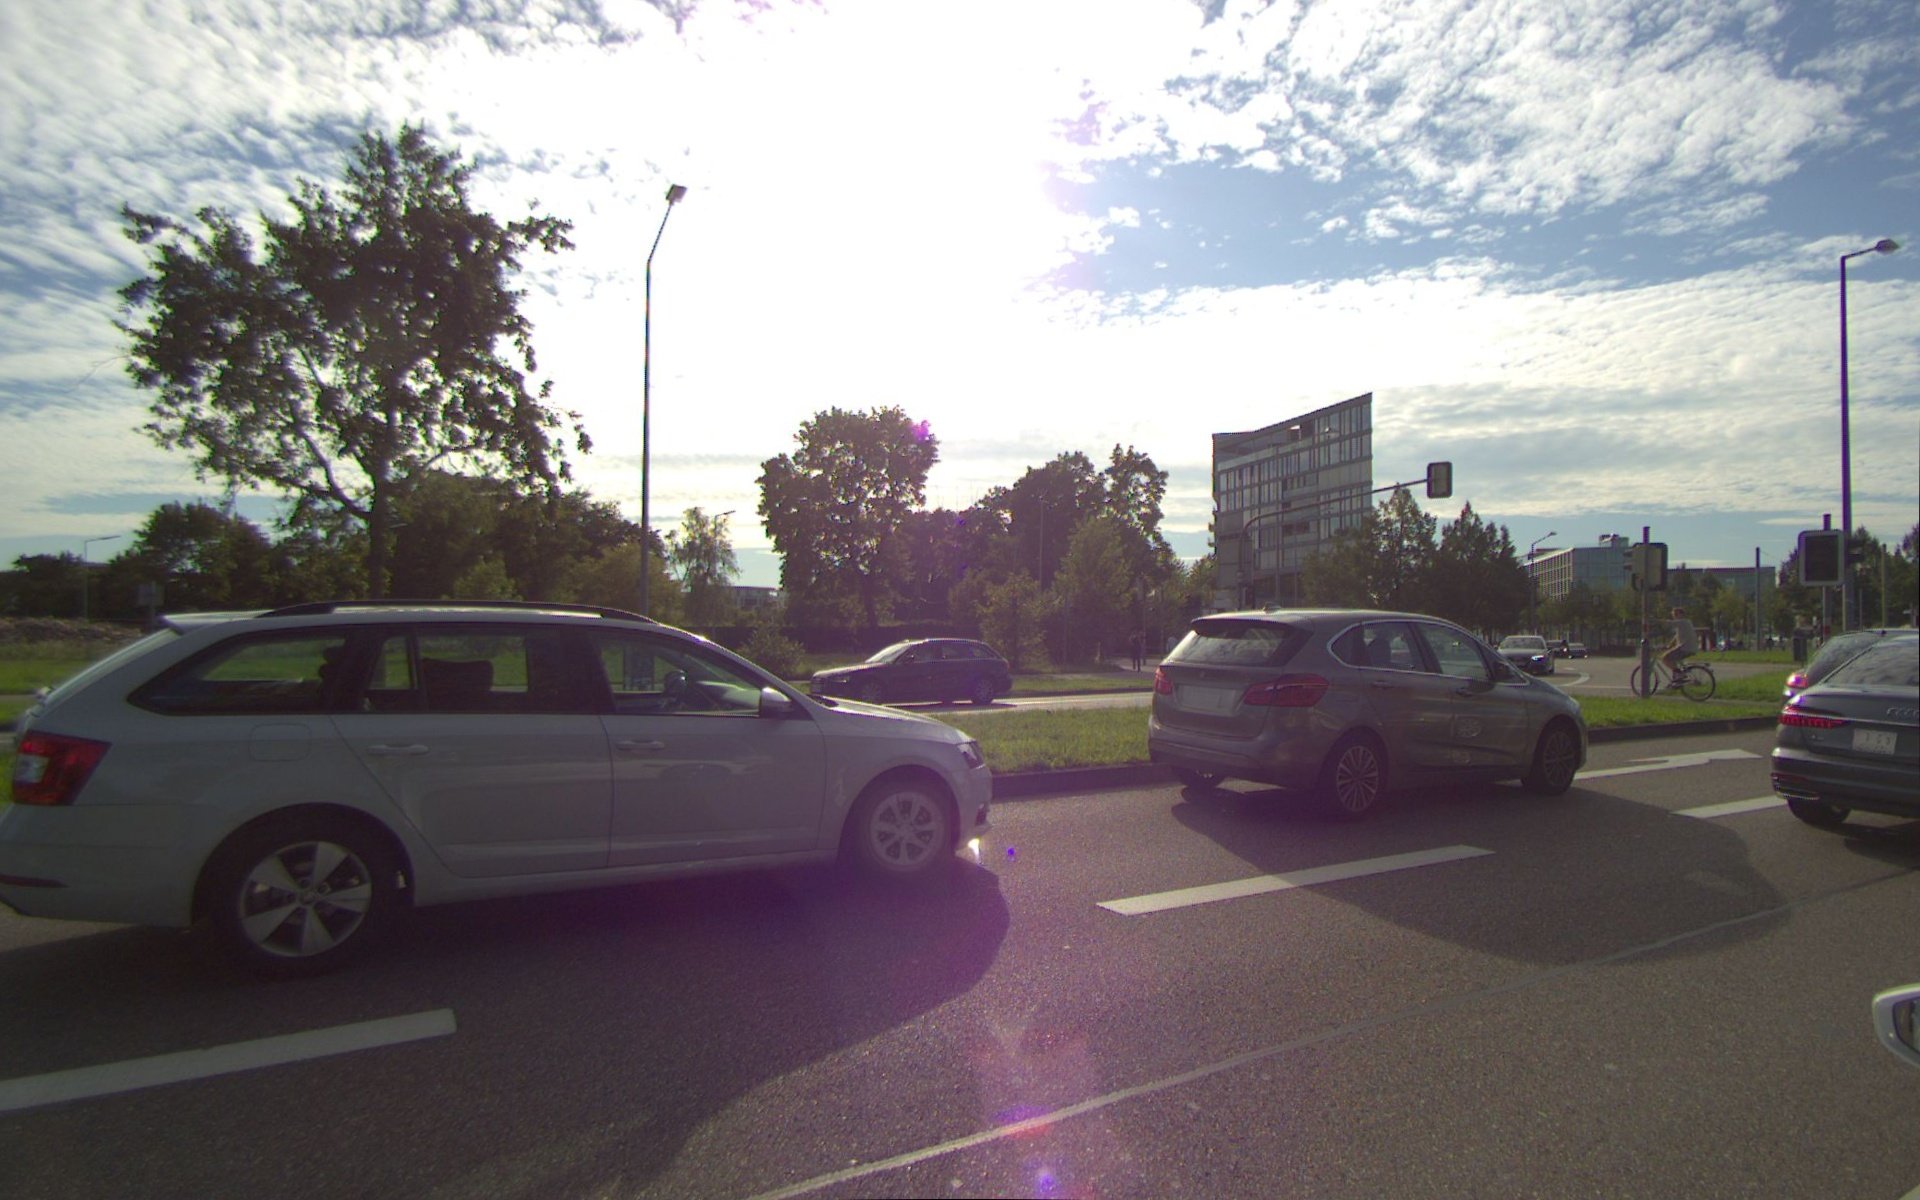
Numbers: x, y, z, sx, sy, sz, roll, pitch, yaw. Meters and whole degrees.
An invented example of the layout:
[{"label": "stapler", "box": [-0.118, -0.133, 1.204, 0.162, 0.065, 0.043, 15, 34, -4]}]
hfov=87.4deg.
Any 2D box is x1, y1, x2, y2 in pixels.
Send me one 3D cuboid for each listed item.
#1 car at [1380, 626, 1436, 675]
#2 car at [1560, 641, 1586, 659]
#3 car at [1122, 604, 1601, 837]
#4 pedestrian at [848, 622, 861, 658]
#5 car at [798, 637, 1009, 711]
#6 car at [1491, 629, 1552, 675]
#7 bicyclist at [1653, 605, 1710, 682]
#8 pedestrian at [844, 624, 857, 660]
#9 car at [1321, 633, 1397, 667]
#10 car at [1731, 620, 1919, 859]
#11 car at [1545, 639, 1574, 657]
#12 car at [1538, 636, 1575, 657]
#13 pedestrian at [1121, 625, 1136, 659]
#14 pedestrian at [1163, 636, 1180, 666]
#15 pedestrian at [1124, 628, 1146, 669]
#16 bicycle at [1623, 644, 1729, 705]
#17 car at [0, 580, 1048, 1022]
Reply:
[{"label": "car", "box": [17.167, 1.892, 38.601, 1.678, 1.793, 4.000, 0, -2, 20]}, {"label": "car", "box": [54.238, 4.407, 88.856, 1.572, 1.433, 3.656, 1, -3, 38]}, {"label": "car", "box": [3.493, 0.872, 8.587, 3.971, 1.579, 1.721, 2, -1, -30]}, {"label": "pedestrian", "box": [-6.069, 2.320, 57.762, 0.723, 2.040, 0.739, 0, -2, -6]}, {"label": "car", "box": [-1.202, 1.554, 21.760, 4.179, 1.452, 1.899, 1, -4, -31]}, {"label": "car", "box": [20.751, 1.885, 37.078, 1.682, 1.594, 3.990, -2, -3, 33]}, {"label": "bicyclist", "box": [14.831, 0.886, 20.644, 0.840, 1.546, 0.736, -2, -3, 44]}, {"label": "pedestrian", "box": [-6.189, 2.376, 56.781, 0.675, 2.040, 0.641, 0, -2, -5]}, {"label": "car", "box": [19.883, 2.510, 50.239, 1.570, 1.613, 3.485, 0, -3, -21]}, {"label": "car", "box": [8.024, 0.962, 7.629, 4.559, 1.502, 1.881, 2, -1, -31]}, {"label": "car", "box": [59.129, 4.702, 99.117, 1.679, 1.713, 4.001, 0, -2, 18]}, {"label": "car", "box": [47.578, 3.693, 80.097, 1.767, 1.595, 3.978, -2, -3, 42]}, {"label": "pedestrian", "box": [10.074, 2.506, 60.193, 0.863, 2.040, 0.936, 0, -2, 8]}, {"label": "pedestrian", "box": [11.064, 2.665, 52.621, 0.608, 1.589, 0.652, 2, -2, -28]}, {"label": "pedestrian", "box": [7.036, 1.942, 40.348, 0.582, 1.602, 0.579, 4, 2, 31]}, {"label": "bicycle", "box": [14.744, 1.514, 20.713, 1.707, 1.179, 0.652, -1, -2, 45]}, {"label": "car", "box": [-1.834, 0.761, 5.304, 4.429, 1.518, 1.690, 2, -1, -31]}]
